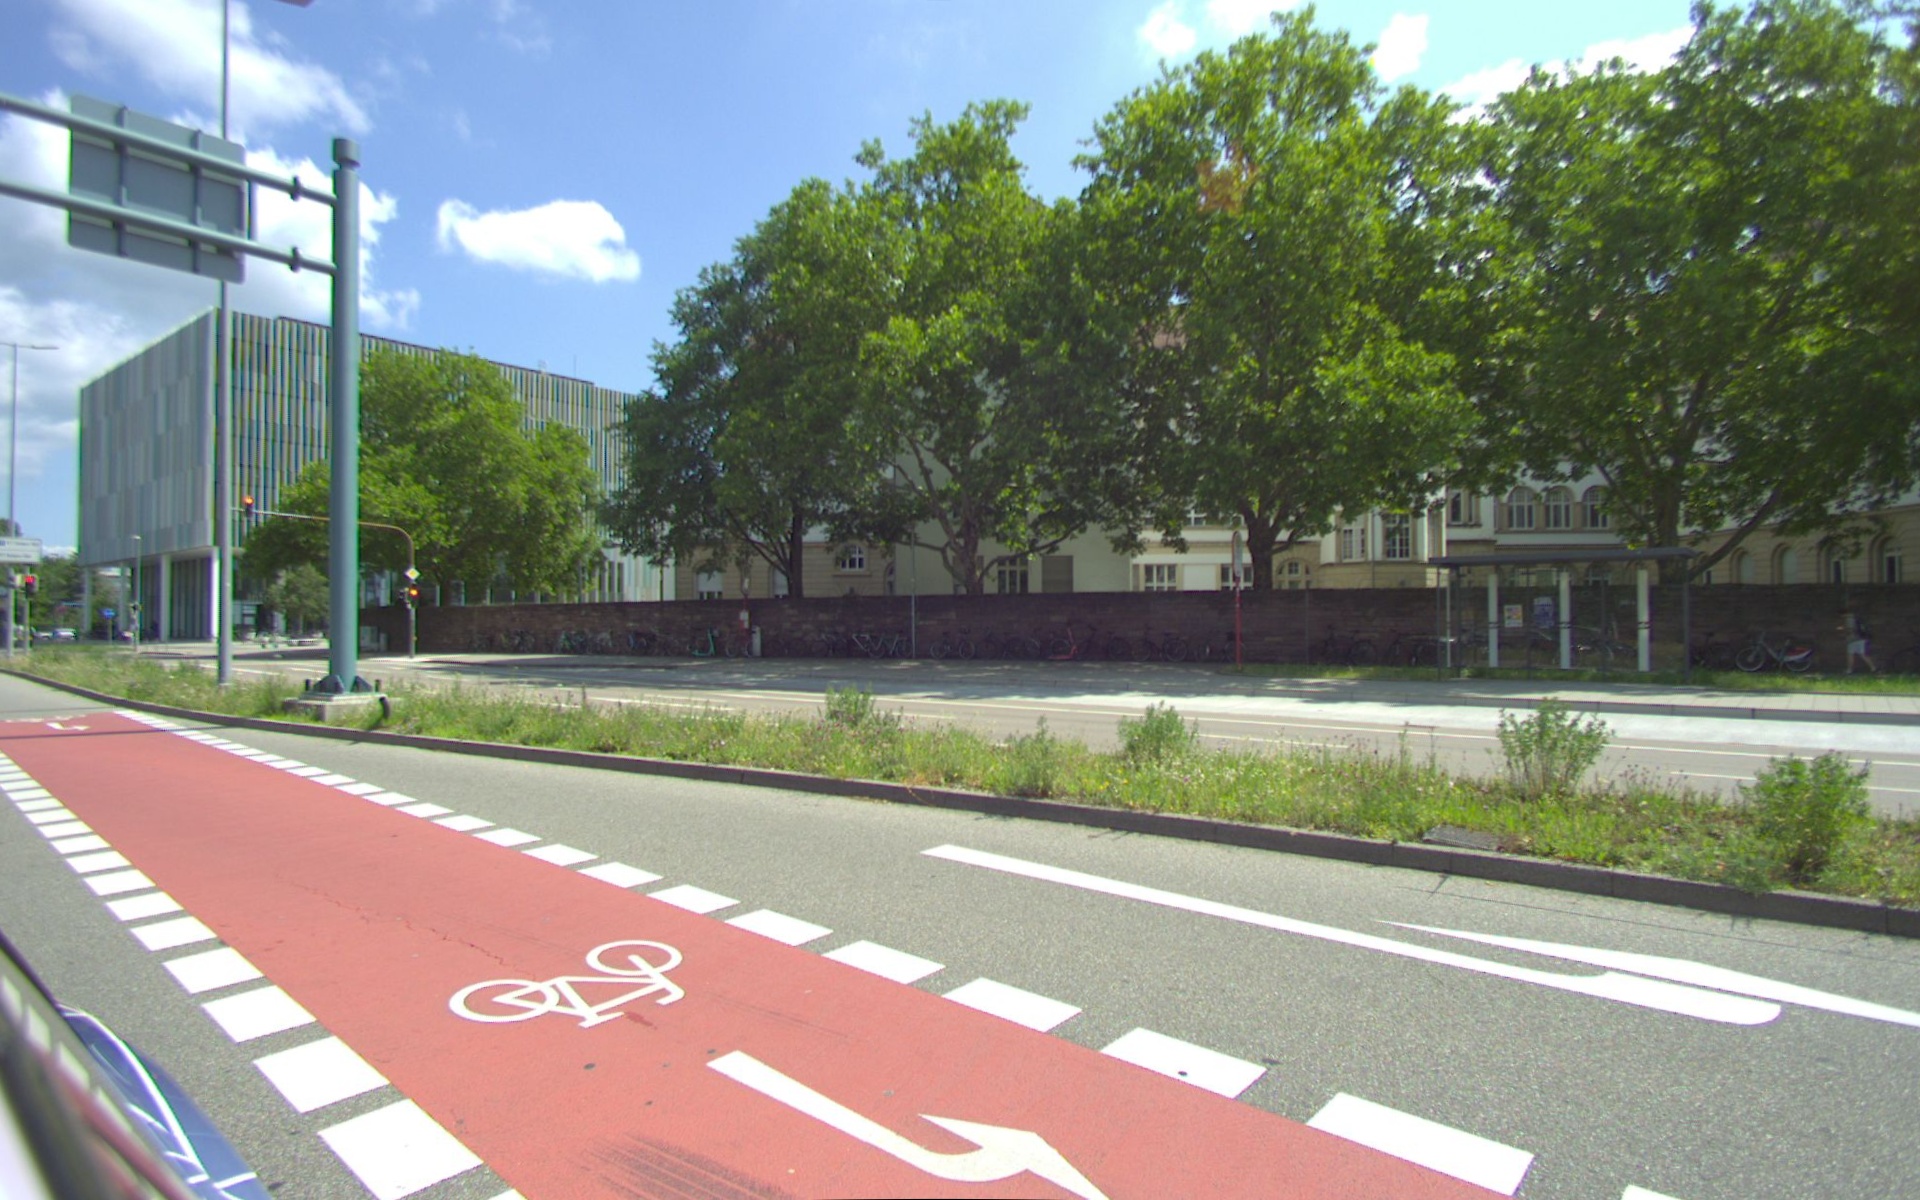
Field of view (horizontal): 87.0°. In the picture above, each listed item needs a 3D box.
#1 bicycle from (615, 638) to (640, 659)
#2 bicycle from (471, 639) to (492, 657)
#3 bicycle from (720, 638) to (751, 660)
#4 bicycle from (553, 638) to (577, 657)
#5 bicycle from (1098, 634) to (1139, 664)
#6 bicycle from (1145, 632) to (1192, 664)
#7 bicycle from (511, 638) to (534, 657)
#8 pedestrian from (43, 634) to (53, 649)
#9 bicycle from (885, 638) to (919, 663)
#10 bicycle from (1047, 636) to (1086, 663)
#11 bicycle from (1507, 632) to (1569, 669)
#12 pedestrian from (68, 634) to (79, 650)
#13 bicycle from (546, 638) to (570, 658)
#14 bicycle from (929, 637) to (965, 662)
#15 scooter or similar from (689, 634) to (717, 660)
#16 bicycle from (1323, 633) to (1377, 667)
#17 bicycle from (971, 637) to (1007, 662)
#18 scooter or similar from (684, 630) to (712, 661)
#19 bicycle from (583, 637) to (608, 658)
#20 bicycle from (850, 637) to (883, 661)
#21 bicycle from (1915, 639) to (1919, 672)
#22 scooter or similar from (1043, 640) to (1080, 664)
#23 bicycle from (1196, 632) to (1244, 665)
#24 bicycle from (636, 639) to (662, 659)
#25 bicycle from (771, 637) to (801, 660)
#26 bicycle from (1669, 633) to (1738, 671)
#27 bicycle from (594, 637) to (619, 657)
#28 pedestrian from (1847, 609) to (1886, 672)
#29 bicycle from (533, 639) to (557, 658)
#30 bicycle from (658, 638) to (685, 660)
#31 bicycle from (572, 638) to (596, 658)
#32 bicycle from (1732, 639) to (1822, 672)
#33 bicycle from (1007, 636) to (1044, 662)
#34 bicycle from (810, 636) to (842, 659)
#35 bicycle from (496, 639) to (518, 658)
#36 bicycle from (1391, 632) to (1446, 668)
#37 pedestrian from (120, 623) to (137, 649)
[{"bbox_3d":[-13.872,2.021,42.240,1.231,0.837,0.262,-1,-2,30],"label":"bicycle"},{"bbox_3d":[-22.686,2.285,47.965,1.231,0.837,0.262,-1,-2,30],"label":"bicycle"},{"bbox_3d":[-8.643,1.881,38.954,1.226,0.837,0.263,-1,-2,19],"label":"bicycle"},{"bbox_3d":[-17.402,2.104,44.566,1.230,0.837,0.262,-1,-2,29],"label":"bicycle"},{"bbox_3d":[4.940,1.519,31.584,1.230,0.915,0.262,-1,-2,28],"label":"bicycle"},{"bbox_3d":[6.402,1.473,31.038,1.385,0.972,0.263,-1,-2,20],"label":"bicycle"},{"bbox_3d":[-19.967,2.167,46.204,1.230,0.837,0.262,-1,-2,29],"label":"bicycle"},{"bbox_3d":[-88.940,4.030,98.727,0.686,1.464,0.689,1,-3,-45],"label":"pedestrian"},{"bbox_3d":[-2.012,1.746,35.120,1.231,0.837,0.262,-1,-2,30],"label":"bicycle"},{"bbox_3d":[3.411,1.590,32.460,1.230,0.837,0.262,-1,-2,28],"label":"bicycle"},{"bbox_3d":[15.632,1.367,27.389,1.385,0.972,0.263,-1,-2,18],"label":"bicycle"},{"bbox_3d":[-82.624,3.895,94.292,0.689,1.464,0.687,-2,-3,44],"label":"pedestrian"},{"bbox_3d":[-17.463,2.095,43.998,1.230,0.837,0.262,-1,-2,29],"label":"bicycle"},{"bbox_3d":[-0.433,1.669,34.273,1.230,0.837,0.262,-1,-2,28],"label":"bicycle"},{"bbox_3d":[-10.141,1.854,39.924,1.133,1.028,0.264,-1,-2,19],"label":"scooter or similar"},{"bbox_3d":[11.180,1.424,29.033,1.385,0.972,0.263,-1,-2,18],"label":"bicycle"},{"bbox_3d":[0.963,1.654,33.721,1.230,0.837,0.262,-1,-2,28],"label":"bicycle"},{"bbox_3d":[-10.081,1.754,38.905,1.230,1.199,0.262,-1,-2,29],"label":"scooter or similar"},{"bbox_3d":[-15.327,1.998,42.562,1.230,0.837,0.262,-1,-2,29],"label":"bicycle"},{"bbox_3d":[-3.319,1.749,35.915,1.231,0.837,0.262,-1,-2,30],"label":"bicycle"},{"bbox_3d":[24.449,1.357,24.625,1.734,0.823,0.382,-1,-2,18],"label":"bicycle"},{"bbox_3d":[3.180,1.625,31.810,1.133,0.734,0.264,-1,-2,18],"label":"scooter or similar"},{"bbox_3d":[7.808,1.467,30.418,1.389,0.972,0.262,-1,-2,28],"label":"bicycle"},{"bbox_3d":[-12.759,2.002,41.505,1.231,0.837,0.262,-1,-2,30],"label":"bicycle"},{"bbox_3d":[-6.467,1.805,37.570,1.231,0.837,0.262,-1,-2,30],"label":"bicycle"},{"bbox_3d":[19.234,1.344,26.194,1.385,0.972,0.263,-1,-2,18],"label":"bicycle"},{"bbox_3d":[-14.980,2.010,42.886,1.231,0.837,0.262,-1,-2,30],"label":"bicycle"},{"bbox_3d":[21.702,0.953,24.247,0.633,1.484,0.504,-2,-2,39],"label":"pedestrian"},{"bbox_3d":[-18.590,2.155,45.316,1.230,0.837,0.262,-1,-2,29],"label":"bicycle"},{"bbox_3d":[-11.564,1.961,40.585,1.231,0.837,0.262,-1,-2,30],"label":"bicycle"},{"bbox_3d":[-16.263,2.076,43.731,1.231,0.837,0.262,-1,-2,30],"label":"bicycle"},{"bbox_3d":[20.745,1.404,25.720,1.734,0.823,0.327,-1,-2,18],"label":"bicycle"},{"bbox_3d":[2.135,1.607,33.072,1.230,0.837,0.262,-1,-2,28],"label":"bicycle"},{"bbox_3d":[-4.887,1.726,36.861,1.231,0.837,0.262,-1,-2,30],"label":"bicycle"},{"bbox_3d":[-21.048,2.246,46.972,1.231,0.837,0.262,-1,-2,30],"label":"bicycle"},{"bbox_3d":[12.865,1.403,28.420,1.385,0.972,0.263,-1,-2,18],"label":"bicycle"},{"bbox_3d":[-66.410,2.889,80.825,0.994,2.029,0.853,-2,-2,39],"label":"pedestrian"}]
